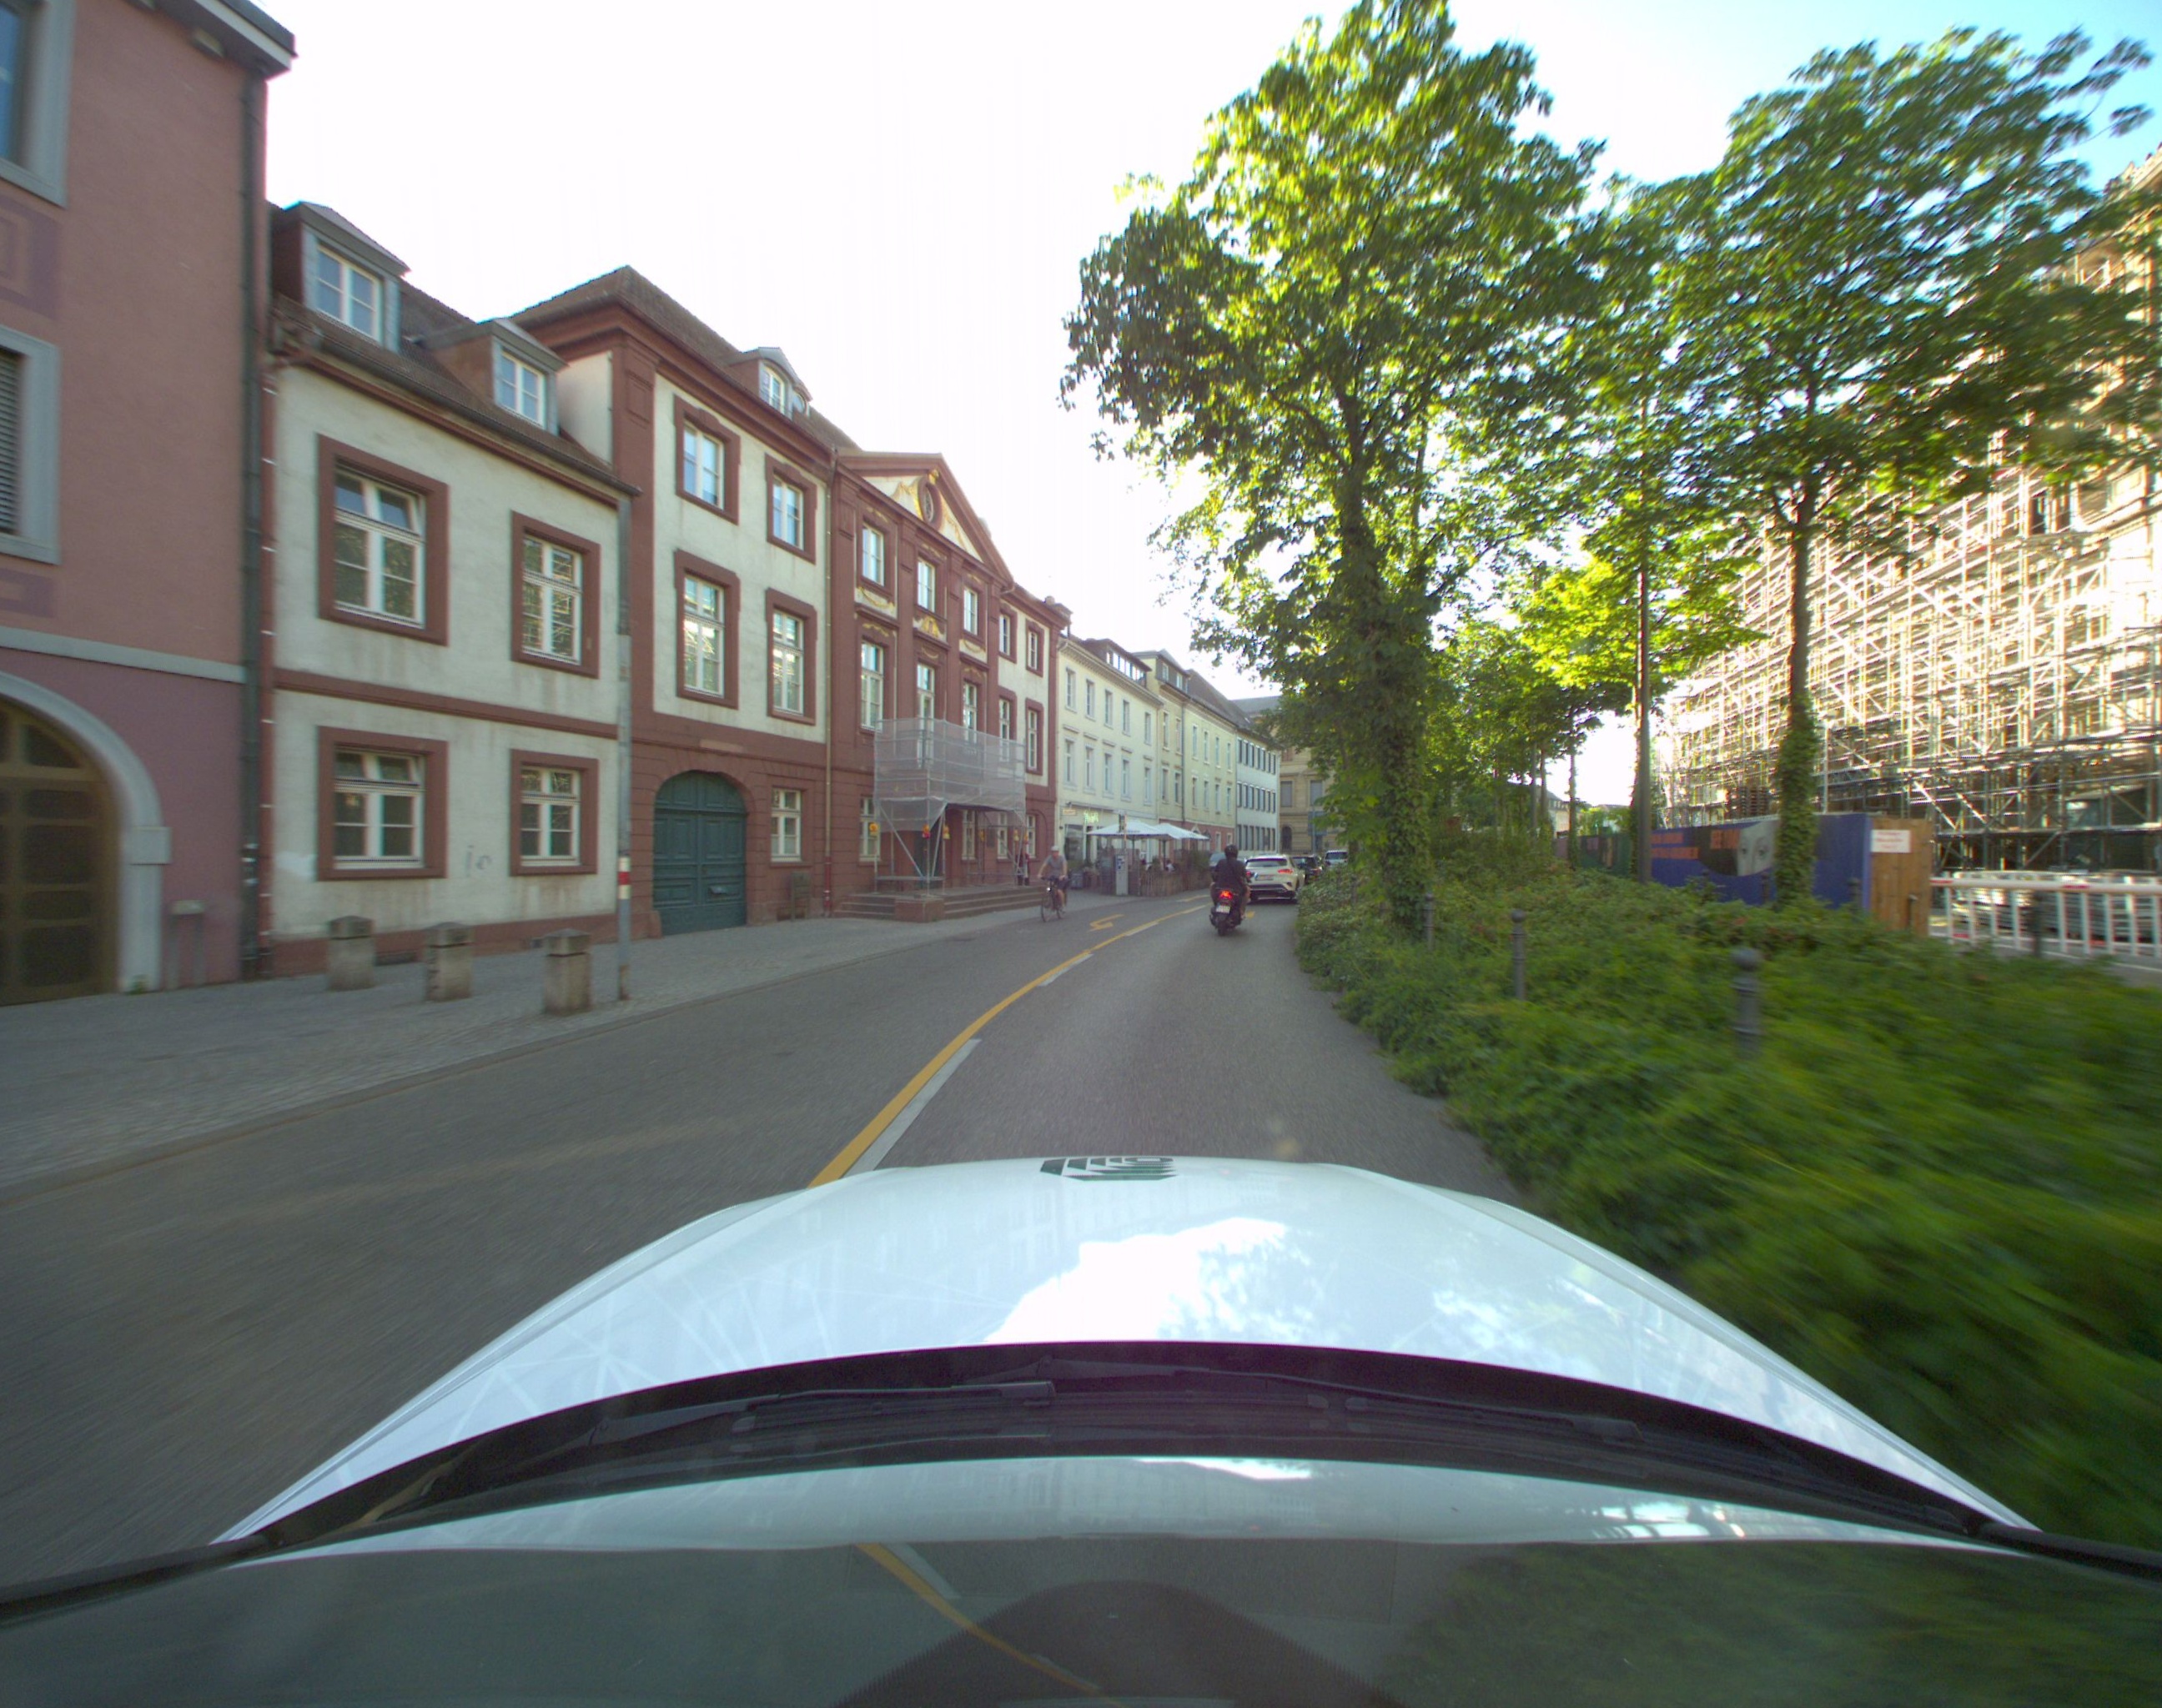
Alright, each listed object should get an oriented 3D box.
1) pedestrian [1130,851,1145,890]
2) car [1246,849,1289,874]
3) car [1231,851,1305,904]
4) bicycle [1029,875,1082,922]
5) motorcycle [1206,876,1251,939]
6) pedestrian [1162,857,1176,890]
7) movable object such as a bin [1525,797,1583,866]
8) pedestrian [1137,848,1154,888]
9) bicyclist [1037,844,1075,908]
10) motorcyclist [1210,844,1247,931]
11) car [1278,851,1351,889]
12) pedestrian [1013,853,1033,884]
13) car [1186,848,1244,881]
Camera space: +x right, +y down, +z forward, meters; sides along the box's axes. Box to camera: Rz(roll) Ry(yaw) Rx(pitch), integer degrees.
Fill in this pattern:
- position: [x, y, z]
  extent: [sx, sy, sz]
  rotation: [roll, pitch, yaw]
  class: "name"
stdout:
- position: [2.603, 0.732, 37.386]
  extent: [0.433, 1.775, 0.601]
  rotation: [-1, 0, 35]
  class: "pedestrian"
- position: [13.194, 0.480, 57.406]
  extent: [1.916, 1.667, 4.373]
  rotation: [-1, 0, 27]
  class: "car"
- position: [5.936, 0.675, 25.536]
  extent: [1.836, 1.480, 4.077]
  rotation: [1, 1, 19]
  class: "car"
- position: [-0.620, 1.095, 20.663]
  extent: [0.766, 1.062, 2.086]
  rotation: [-1, 0, 15]
  class: "bicycle"
- position: [2.856, 0.999, 15.654]
  extent: [0.791, 1.066, 1.731]
  rotation: [0, 1, 12]
  class: "motorcycle"
- position: [3.923, 0.865, 36.357]
  extent: [0.466, 1.433, 0.505]
  rotation: [0, 0, 26]
  class: "pedestrian"
- position: [33.870, -1.513, 58.431]
  extent: [3.275, 4.539, 7.954]
  rotation: [-1, 0, 30]
  class: "movable object such as a bin"
- position: [2.841, 0.609, 35.917]
  extent: [0.590, 1.775, 0.442]
  rotation: [-1, 0, 30]
  class: "pedestrian"
- position: [-0.621, 0.545, 20.664]
  extent: [0.738, 1.583, 0.798]
  rotation: [0, 0, 16]
  class: "bicyclist"
- position: [2.853, 0.634, 15.735]
  extent: [0.652, 1.650, 0.653]
  rotation: [0, 0, 13]
  class: "motorcyclist"
- position: [9.898, 0.622, 34.315]
  extent: [1.822, 1.463, 4.083]
  rotation: [1, 1, 33]
  class: "car"
- position: [-1.987, 0.481, 27.923]
  extent: [0.532, 1.053, 0.554]
  rotation: [0, 0, 17]
  class: "pedestrian"
- position: [7.388, 0.536, 44.528]
  extent: [1.905, 1.679, 4.812]
  rotation: [-1, 0, 24]
  class: "car"
